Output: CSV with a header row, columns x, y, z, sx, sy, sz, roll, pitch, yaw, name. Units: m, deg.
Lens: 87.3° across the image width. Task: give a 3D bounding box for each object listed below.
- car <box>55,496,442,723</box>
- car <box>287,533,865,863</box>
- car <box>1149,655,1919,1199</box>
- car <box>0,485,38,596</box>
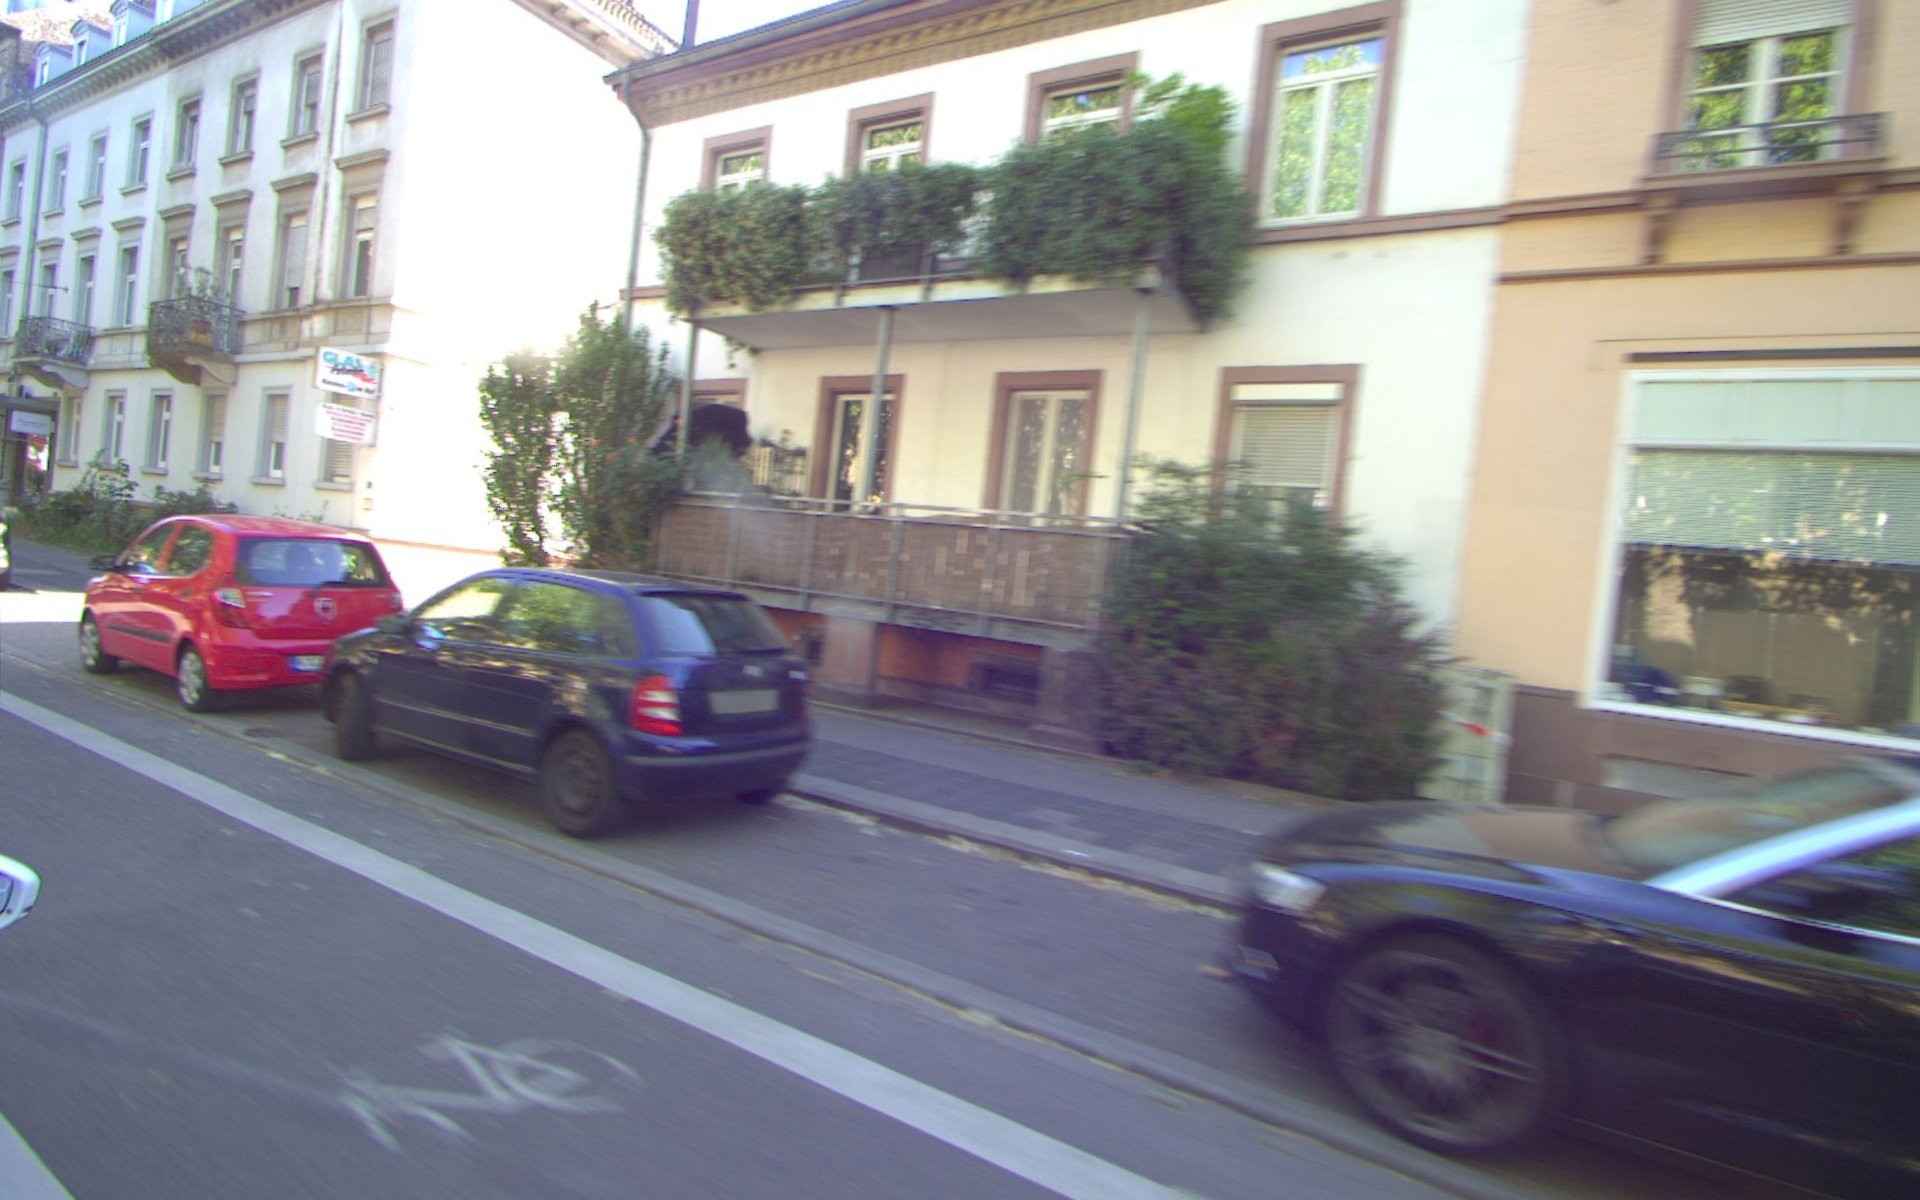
x,y,z,sx,sy,sz,roll,pitch,yaw,name
-6.501,0.020,9.108,3.518,1.566,1.635,6,1,34,car
-2.710,0.474,6.836,3.805,1.475,1.651,6,1,33,car
3.040,1.148,3.112,4.422,1.410,1.694,6,1,34,car
-15.835,-1.041,15.065,3.866,1.608,1.880,6,3,29,car
